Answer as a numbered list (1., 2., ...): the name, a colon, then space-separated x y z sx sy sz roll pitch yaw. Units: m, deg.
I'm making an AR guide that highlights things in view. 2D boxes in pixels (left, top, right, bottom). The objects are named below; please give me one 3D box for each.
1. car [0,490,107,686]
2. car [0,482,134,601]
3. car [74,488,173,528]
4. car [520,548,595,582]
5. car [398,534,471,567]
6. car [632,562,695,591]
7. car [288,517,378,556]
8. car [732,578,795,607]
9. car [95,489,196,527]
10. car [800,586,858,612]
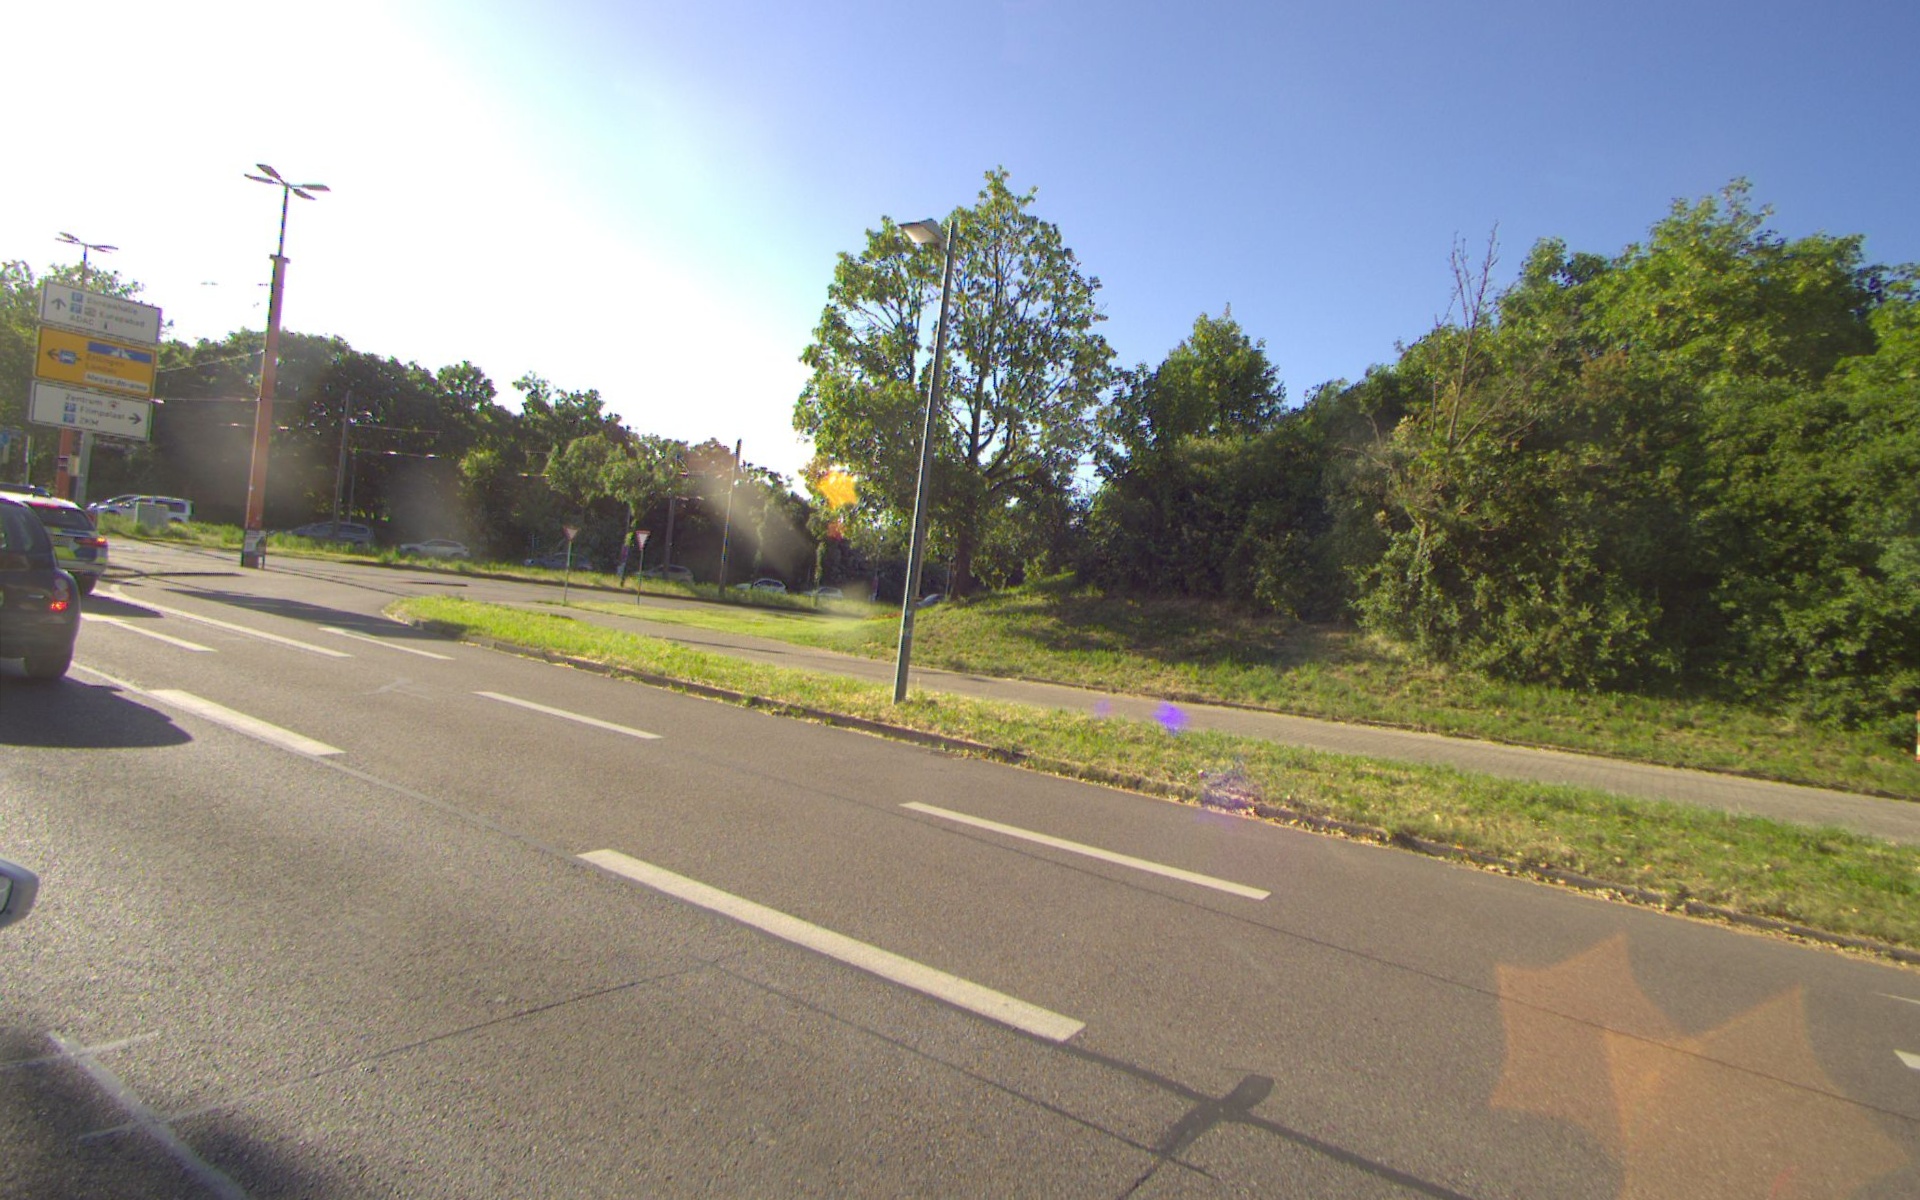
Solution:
1. car: -9.027 -0.287 8.535 3.445 1.512 1.641 7 -1 32
2. car: -15.740 -1.101 16.565 4.427 1.653 1.895 7 0 32
3. car: -46.916 -5.145 56.511 3.961 1.493 1.774 8 -1 -32
4. car: -26.313 -2.278 65.782 4.230 1.646 1.914 8 -1 -31
5. car: -33.673 -3.166 64.520 3.959 1.513 1.846 8 -1 -31
6. car: -21.487 -1.670 72.974 3.958 1.546 1.845 8 -1 -31
7. car: -36.801 -3.716 59.106 4.323 1.577 1.856 8 -1 -33
8. car: -14.290 -0.541 73.172 3.958 1.600 1.858 8 -1 -30
9. car: -44.206 -4.950 54.690 3.960 1.353 1.715 8 -1 -32
10. car: -10.267 -0.074 78.955 3.955 1.503 1.877 8 -1 -29
